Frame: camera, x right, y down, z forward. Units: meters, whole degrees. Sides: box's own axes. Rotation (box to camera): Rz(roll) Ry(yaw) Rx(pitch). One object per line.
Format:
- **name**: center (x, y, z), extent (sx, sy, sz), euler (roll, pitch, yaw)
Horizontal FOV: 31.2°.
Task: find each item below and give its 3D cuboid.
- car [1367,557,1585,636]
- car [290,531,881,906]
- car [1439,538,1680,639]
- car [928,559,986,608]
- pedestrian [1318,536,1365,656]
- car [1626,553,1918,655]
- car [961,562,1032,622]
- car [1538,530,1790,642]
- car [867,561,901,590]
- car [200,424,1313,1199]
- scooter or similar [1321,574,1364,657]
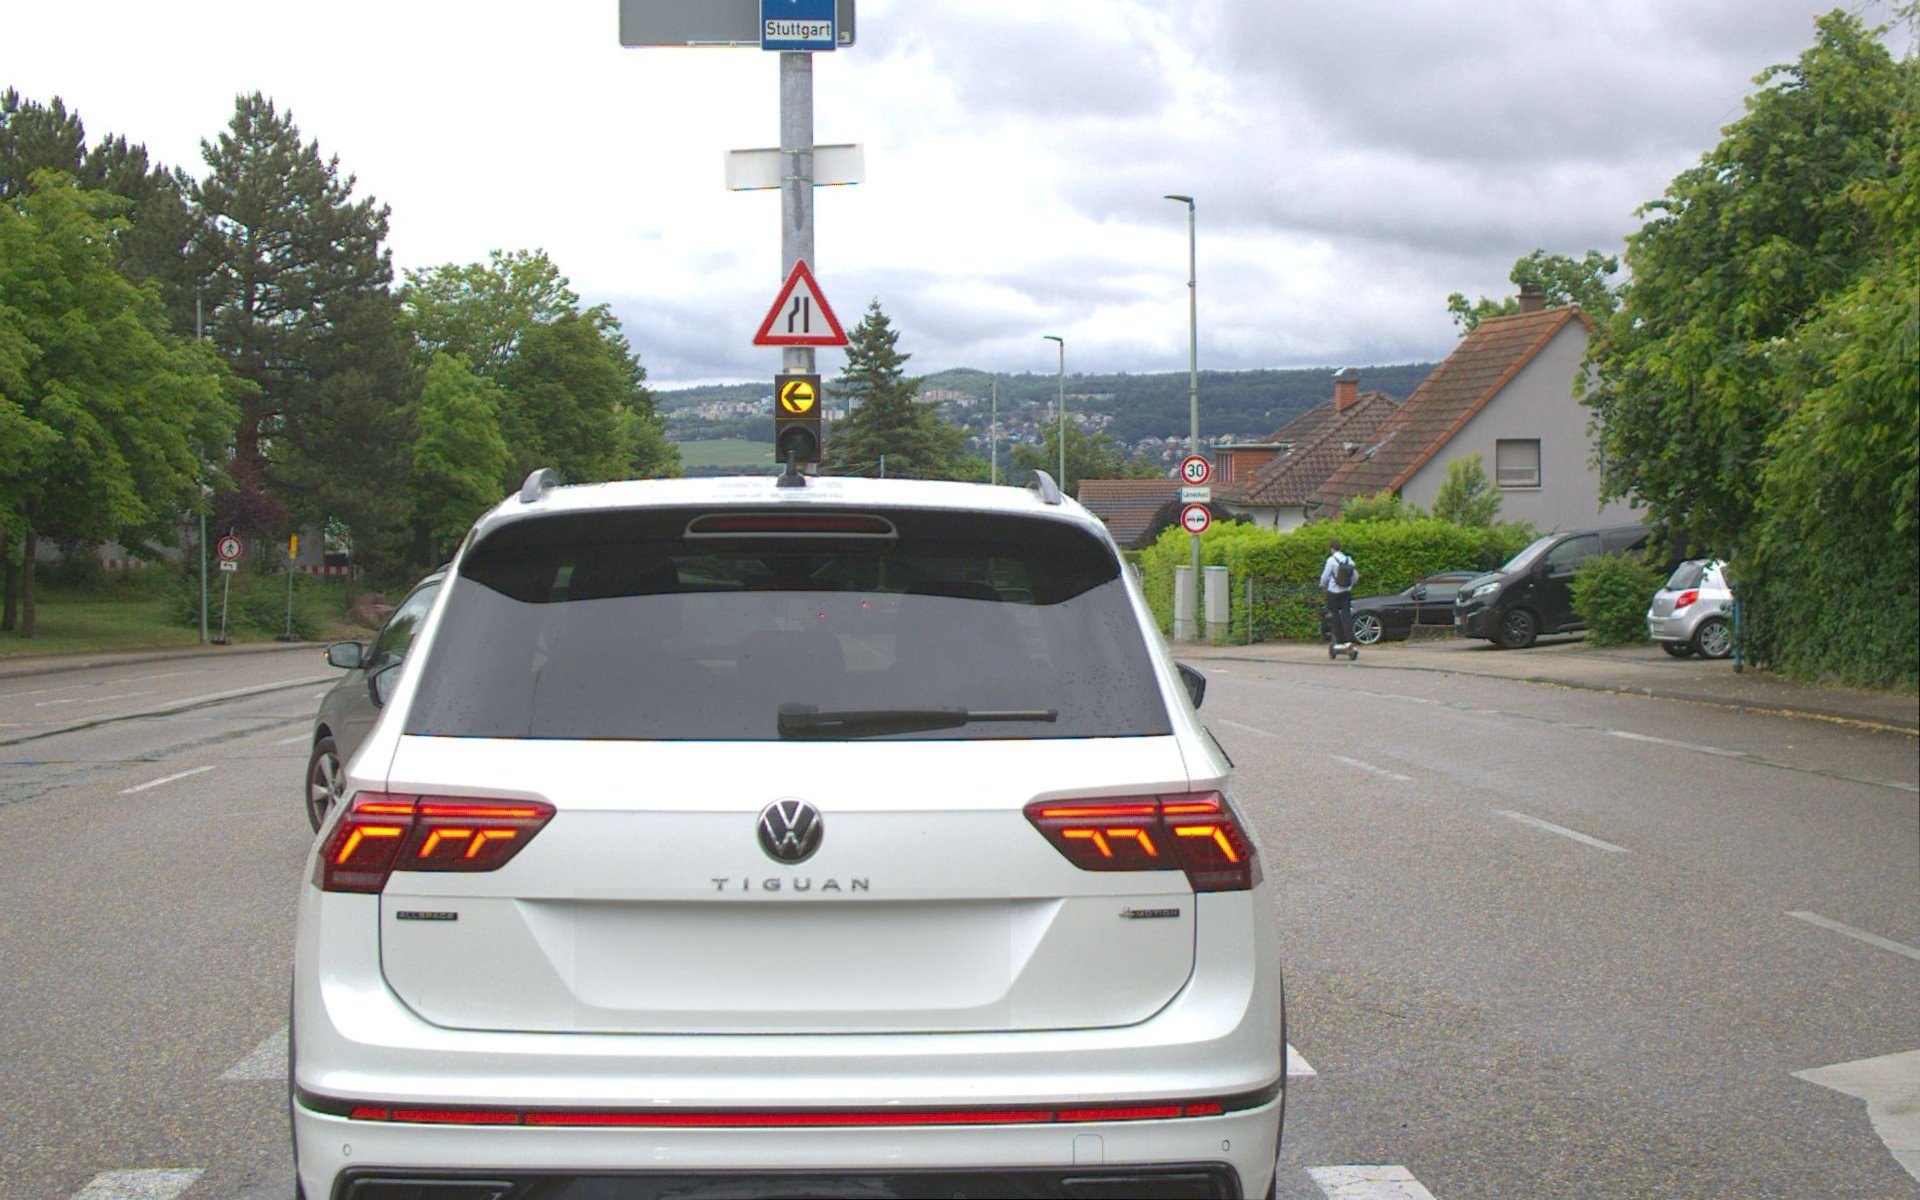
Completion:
- **car**: center (9.334, -0.051, 62.350), extent (3.687, 1.365, 1.519), euler (1, -1, -2)
- **car**: center (-1.953, 0.473, 16.780), extent (1.798, 1.584, 3.927), euler (-1, 1, -23)
- **car**: center (10.006, -0.208, 57.504), extent (3.627, 1.620, 1.791), euler (-1, 1, -5)
- **car**: center (-0.117, -0.564, 113.400), extent (1.850, 1.569, 4.000), euler (0, 1, -1)
- **pedestrian**: center (6.347, -0.072, 57.196), extent (0.655, 1.995, 0.718), euler (0, 1, -4)
- **car**: center (11.721, 0.060, 49.727), extent (3.713, 1.390, 1.729), euler (-1, 0, -8)
- **car**: center (0.993, -0.233, 94.751), extent (1.850, 1.569, 4.000), euler (1, 1, -1)
- **car**: center (11.256, -0.235, 55.091), extent (3.627, 1.740, 1.708), euler (-1, 1, -4)
- **car**: center (-4.327, -1.392, 195.184), extent (1.850, 1.569, 4.000), euler (-1, 1, -1)
- **car**: center (-0.391, 0.542, 7.658), extent (1.762, 1.690, 4.273), euler (1, 1, -2)
- **scooter or similar**: center (6.394, 0.249, 57.486), extent (0.461, 1.356, 1.385), euler (0, 1, -4)
